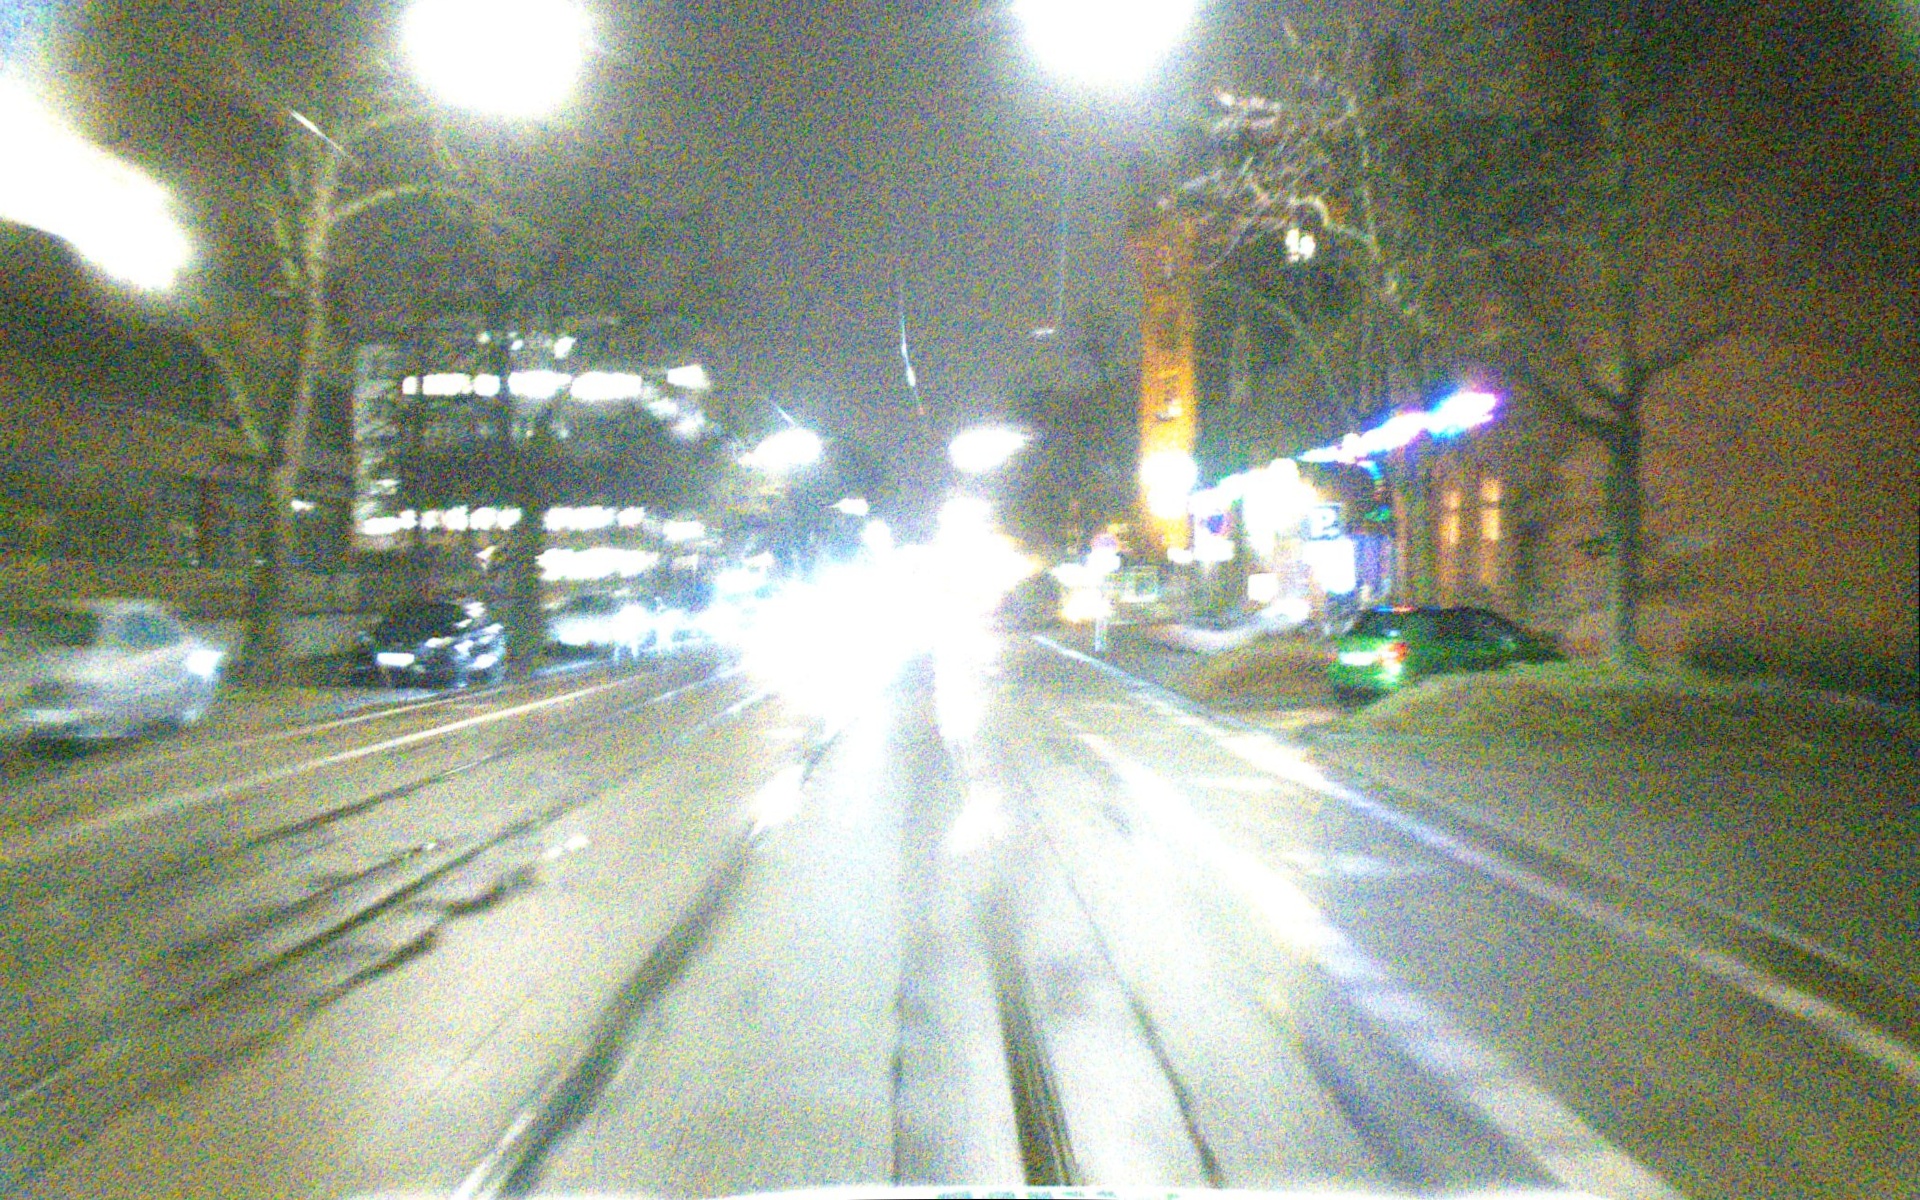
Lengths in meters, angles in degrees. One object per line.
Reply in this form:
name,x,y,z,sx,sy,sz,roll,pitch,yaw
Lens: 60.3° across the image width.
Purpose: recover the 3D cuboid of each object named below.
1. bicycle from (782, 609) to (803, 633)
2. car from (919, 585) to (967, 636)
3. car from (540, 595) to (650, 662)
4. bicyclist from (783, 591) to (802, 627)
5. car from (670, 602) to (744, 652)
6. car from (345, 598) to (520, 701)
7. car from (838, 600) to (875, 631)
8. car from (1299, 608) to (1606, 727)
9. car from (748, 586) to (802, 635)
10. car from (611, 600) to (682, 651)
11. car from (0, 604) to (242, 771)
bicycle,-7.933,0.978,78.476,0.766,1.101,1.918,-2,0,-1
car,-0.849,0.507,80.345,2.199,2.402,4.392,1,0,-2
car,-9.460,0.719,43.206,1.943,1.660,4.516,1,0,-1
bicyclist,-7.948,0.443,78.486,0.766,1.684,1.206,-2,0,-1
car,-9.324,0.976,61.325,1.929,1.684,4.601,3,0,0
car,-9.241,0.826,29.337,1.843,1.572,4.396,4,-1,-4
car,-5.461,0.809,87.429,1.740,1.544,4.050,1,0,-1
car,7.096,0.928,23.814,4.043,1.564,1.944,1,0,-27
car,-10.319,0.562,92.813,2.140,2.637,6.393,1,0,1
car,-9.520,0.758,50.419,1.657,1.446,3.911,0,0,-4
car,-9.233,0.786,17.109,1.851,1.488,4.954,0,0,-5
